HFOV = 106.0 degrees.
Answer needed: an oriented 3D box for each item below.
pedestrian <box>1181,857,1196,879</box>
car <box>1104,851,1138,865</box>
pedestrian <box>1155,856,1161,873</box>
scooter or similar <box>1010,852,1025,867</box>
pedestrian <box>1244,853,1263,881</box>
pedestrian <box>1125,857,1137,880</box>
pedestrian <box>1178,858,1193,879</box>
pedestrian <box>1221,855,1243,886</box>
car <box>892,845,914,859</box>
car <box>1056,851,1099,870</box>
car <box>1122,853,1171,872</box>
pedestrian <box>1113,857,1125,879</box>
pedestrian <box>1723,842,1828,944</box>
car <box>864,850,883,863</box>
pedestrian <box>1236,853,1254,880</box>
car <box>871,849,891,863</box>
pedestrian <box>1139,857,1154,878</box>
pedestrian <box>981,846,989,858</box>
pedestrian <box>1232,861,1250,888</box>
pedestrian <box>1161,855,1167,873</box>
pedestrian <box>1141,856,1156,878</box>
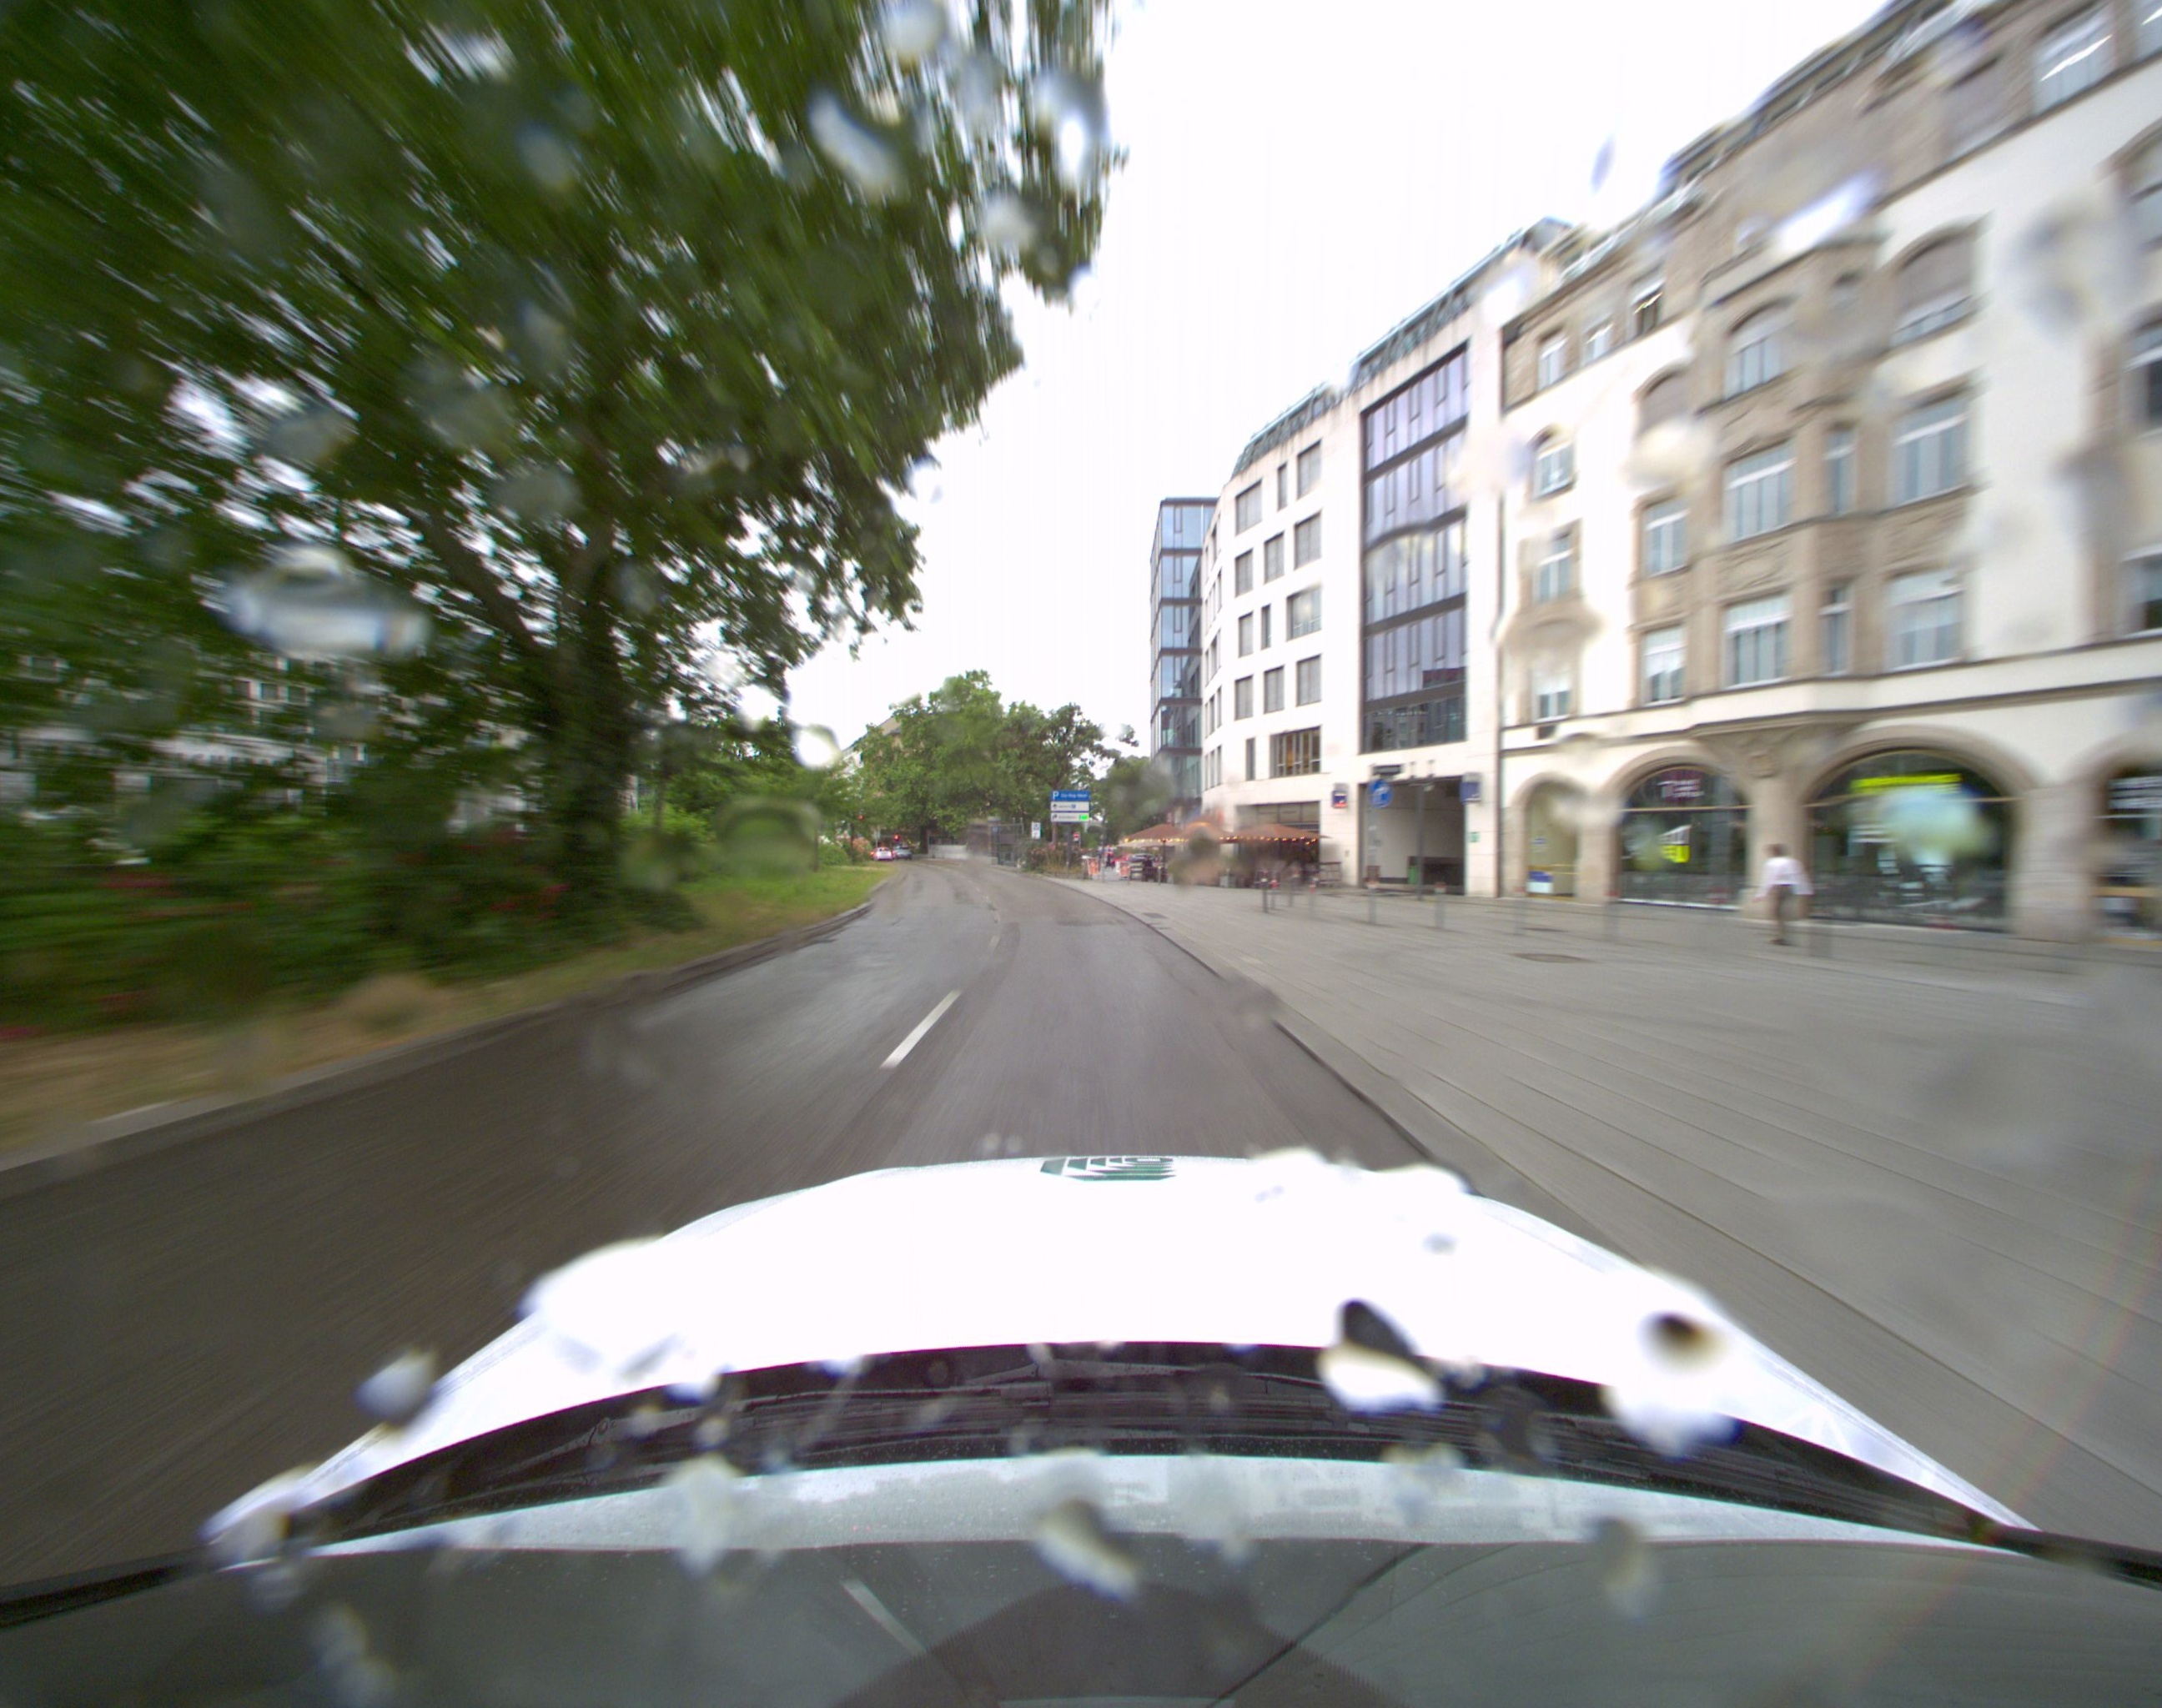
[{"bbox_3d":[6.712,0.883,50.911,0.815,1.326,0.635,2,-1,-2],"label":"pedestrian"},{"bbox_3d":[4.325,0.449,87.686,1.623,1.416,3.487,2,0,-42],"label":"car"},{"bbox_3d":[6.121,0.825,64.452,0.433,1.403,0.478,0,-1,0],"label":"pedestrian"},{"bbox_3d":[-5.043,0.419,65.118,1.115,1.158,0.441,1,0,-17],"label":"scooter or similar"},{"bbox_3d":[8.503,0.636,40.081,0.629,1.326,0.631,3,-1,-23],"label":"pedestrian"},{"bbox_3d":[3.007,0.864,49.100,0.604,1.326,0.567,2,-1,-2],"label":"pedestrian"},{"bbox_3d":[6.636,0.912,51.697,0.815,1.326,0.635,2,-1,-2],"label":"pedestrian"},{"bbox_3d":[6.601,0.727,35.544,0.772,1.326,0.635,2,-1,-3],"label":"pedestrian"},{"bbox_3d":[-21.376,-0.244,97.702,1.954,1.666,4.314,1,0,-21],"label":"car"},{"bbox_3d":[-0.395,0.622,80.060,4.087,1.621,1.861,3,-1,-3],"label":"car"},{"bbox_3d":[6.418,0.809,79.876,4.717,1.691,2.005,1,1,1],"label":"car"},{"bbox_3d":[2.304,0.829,49.050,0.604,1.326,0.567,2,-1,-2],"label":"pedestrian"},{"bbox_3d":[13.213,0.726,15.531,0.872,1.838,1.244,2,-1,-12],"label":"pedestrian"},{"bbox_3d":[-24.215,0.288,95.033,1.698,1.463,4.100,-2,1,-21],"label":"car"},{"bbox_3d":[8.214,0.642,40.835,0.629,1.326,0.631,3,-1,-23],"label":"pedestrian"},{"bbox_3d":[-21.776,0.223,88.723,1.596,1.491,3.480,-2,1,-21],"label":"car"},{"bbox_3d":[4.144,0.866,51.707,0.815,1.326,0.635,2,-1,-2],"label":"pedestrian"},{"bbox_3d":[-11.088,-0.217,93.875,0.686,1.410,0.900,2,-1,-17],"label":"pedestrian"},{"bbox_3d":[8.213,1.048,41.853,0.629,1.326,0.631,3,-1,-23],"label":"pedestrian"},{"bbox_3d":[6.580,0.823,64.840,0.433,1.403,0.478,0,-1,0],"label":"pedestrian"},{"bbox_3d":[4.224,0.809,50.933,0.815,1.326,0.635,2,-1,-2],"label":"pedestrian"}]
